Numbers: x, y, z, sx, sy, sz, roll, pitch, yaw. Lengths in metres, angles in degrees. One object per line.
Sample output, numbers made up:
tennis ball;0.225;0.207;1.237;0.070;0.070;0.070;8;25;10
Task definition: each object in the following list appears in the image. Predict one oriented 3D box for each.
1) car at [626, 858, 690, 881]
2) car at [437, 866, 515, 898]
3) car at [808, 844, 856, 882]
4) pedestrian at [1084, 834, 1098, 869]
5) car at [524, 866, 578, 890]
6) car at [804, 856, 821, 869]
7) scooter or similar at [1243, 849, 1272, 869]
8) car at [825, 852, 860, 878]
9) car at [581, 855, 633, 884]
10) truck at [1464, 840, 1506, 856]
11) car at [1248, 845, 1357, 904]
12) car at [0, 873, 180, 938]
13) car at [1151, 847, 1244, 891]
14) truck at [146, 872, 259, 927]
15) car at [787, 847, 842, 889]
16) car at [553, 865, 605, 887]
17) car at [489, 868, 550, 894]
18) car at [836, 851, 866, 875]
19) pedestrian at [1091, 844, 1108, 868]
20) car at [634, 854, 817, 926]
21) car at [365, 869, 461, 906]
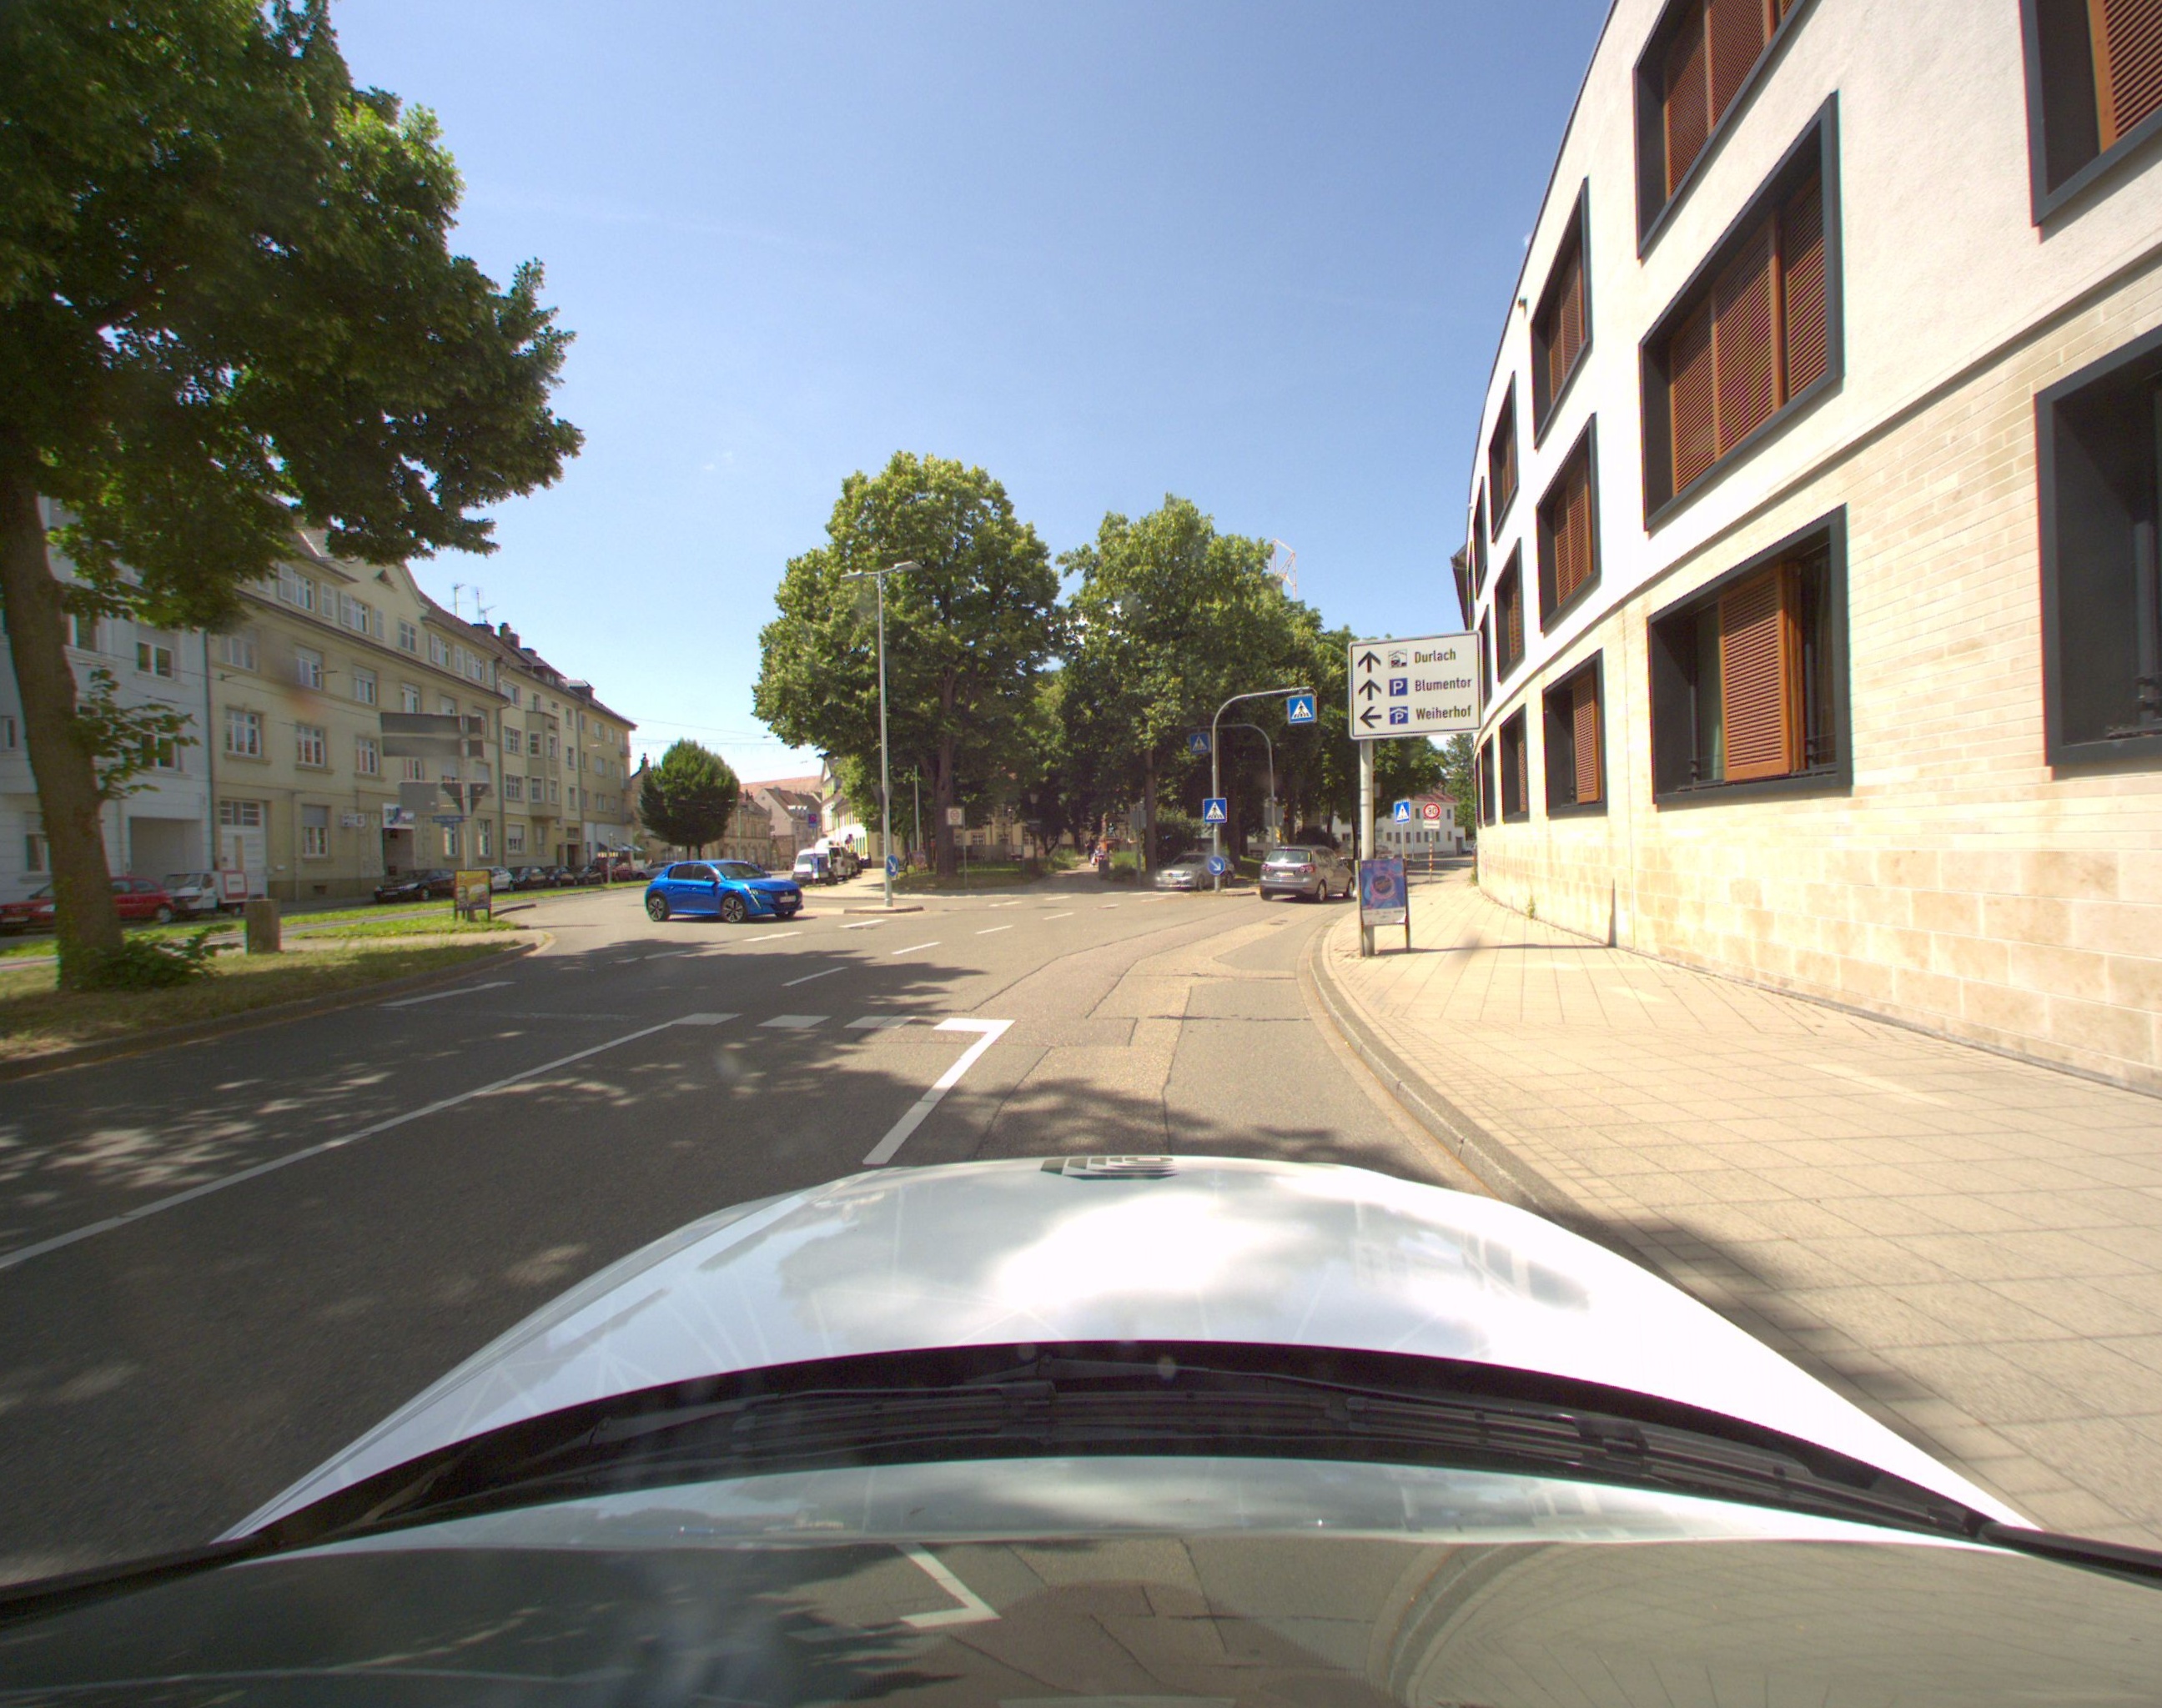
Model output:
car;-34.433;1.251;66.425;4.213;1.504;1.993;-4;1;-17
car;-30.995;1.415;41.859;1.688;1.390;3.841;-4;1;-13
car;-14.160;0.465;46.518;2.050;2.002;5.229;-1;0;-11
pedestrian;0.572;-0.139;45.778;0.745;1.910;0.685;-1;2;2
car;-33.111;1.461;51.012;1.604;1.277;3.571;-4;1;-13
car;-33.163;1.008;100.495;1.866;1.486;3.974;-1;0;-19
scooter or similar;10.508;0.289;48.410;1.261;0.991;1.460;8;4;27
car;-15.638;0.691;53.596;1.784;1.624;4.468;-1;0;-11
car;-35.052;1.125;60.311;1.855;1.911;4.750;-4;1;-13
truck;53.001;-0.776;106.905;4.751;2.013;2.157;-1;0;22
car;6.573;0.521;23.809;1.885;1.533;4.270;1;1;32
car;-26.606;1.318;21.717;1.573;1.451;3.610;-4;1;-13
car;4.510;0.526;31.028;1.720;1.488;4.436;-1;0;34
truck;-27.735;1.391;25.799;1.127;1.494;2.582;-4;1;-14
car;-12.396;0.610;38.143;1.996;1.826;4.403;-1;0;-13
car;-34.057;1.447;55.364;1.643;1.277;4.246;-4;1;-13
car;-32.101;1.504;46.621;1.688;1.277;3.274;-4;1;-13
car;-17.015;0.628;60.488;1.784;1.693;4.184;-1;0;-11
pedestrian;1.027;0.115;44.935;0.902;1.252;1.149;-1;2;3
car;-8.487;0.808;19.419;3.950;1.492;1.826;-1;1;27
car;-29.814;1.466;36.480;1.688;1.360;3.841;-4;1;-13
